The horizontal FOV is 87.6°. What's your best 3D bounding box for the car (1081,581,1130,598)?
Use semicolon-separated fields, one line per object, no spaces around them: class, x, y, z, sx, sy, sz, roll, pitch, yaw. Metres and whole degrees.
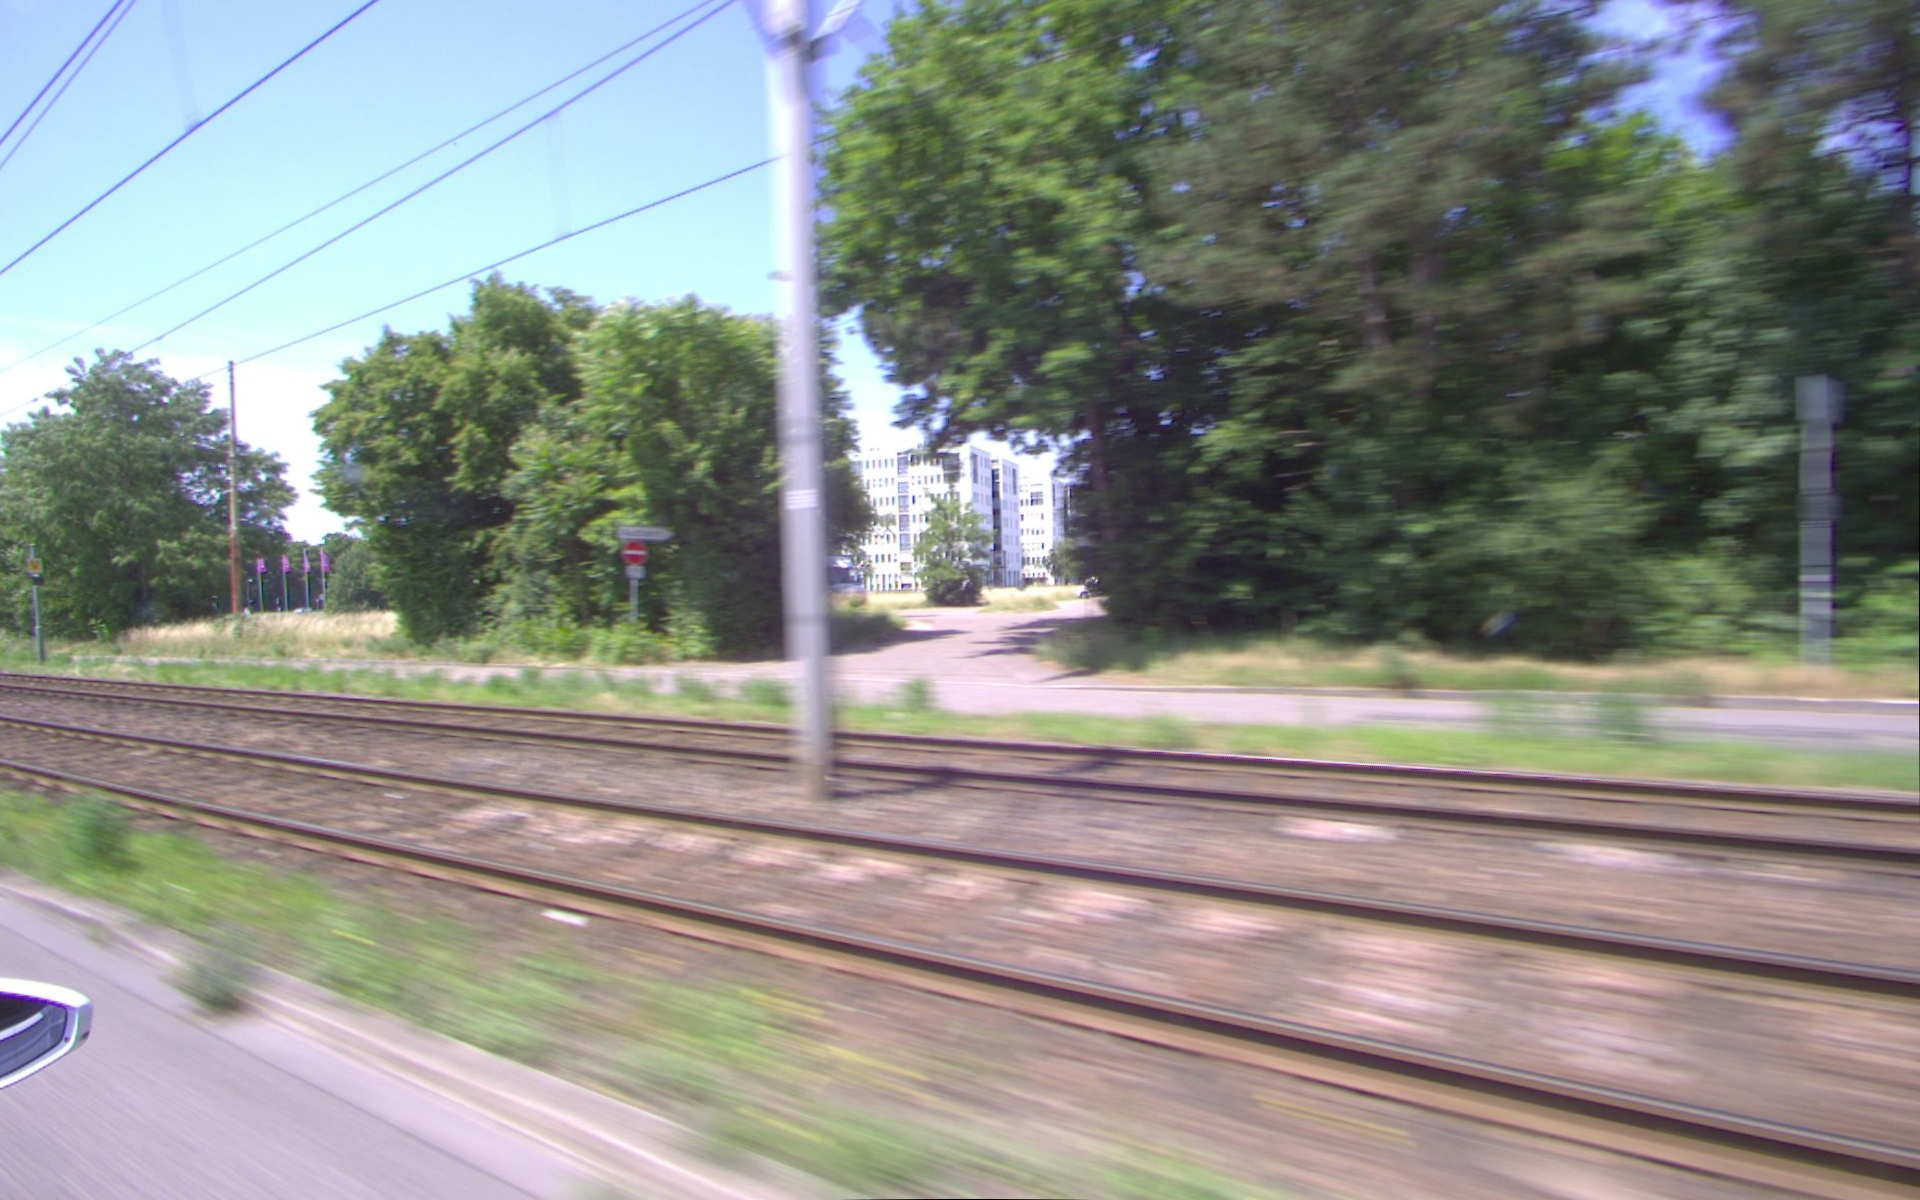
car;13.767;-0.973;94.559;4.288;1.472;1.831;-2;0;19

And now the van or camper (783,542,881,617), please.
van or camper;-5.547;-0.797;43.029;2.308;2.670;4.406;6;-7;-35
